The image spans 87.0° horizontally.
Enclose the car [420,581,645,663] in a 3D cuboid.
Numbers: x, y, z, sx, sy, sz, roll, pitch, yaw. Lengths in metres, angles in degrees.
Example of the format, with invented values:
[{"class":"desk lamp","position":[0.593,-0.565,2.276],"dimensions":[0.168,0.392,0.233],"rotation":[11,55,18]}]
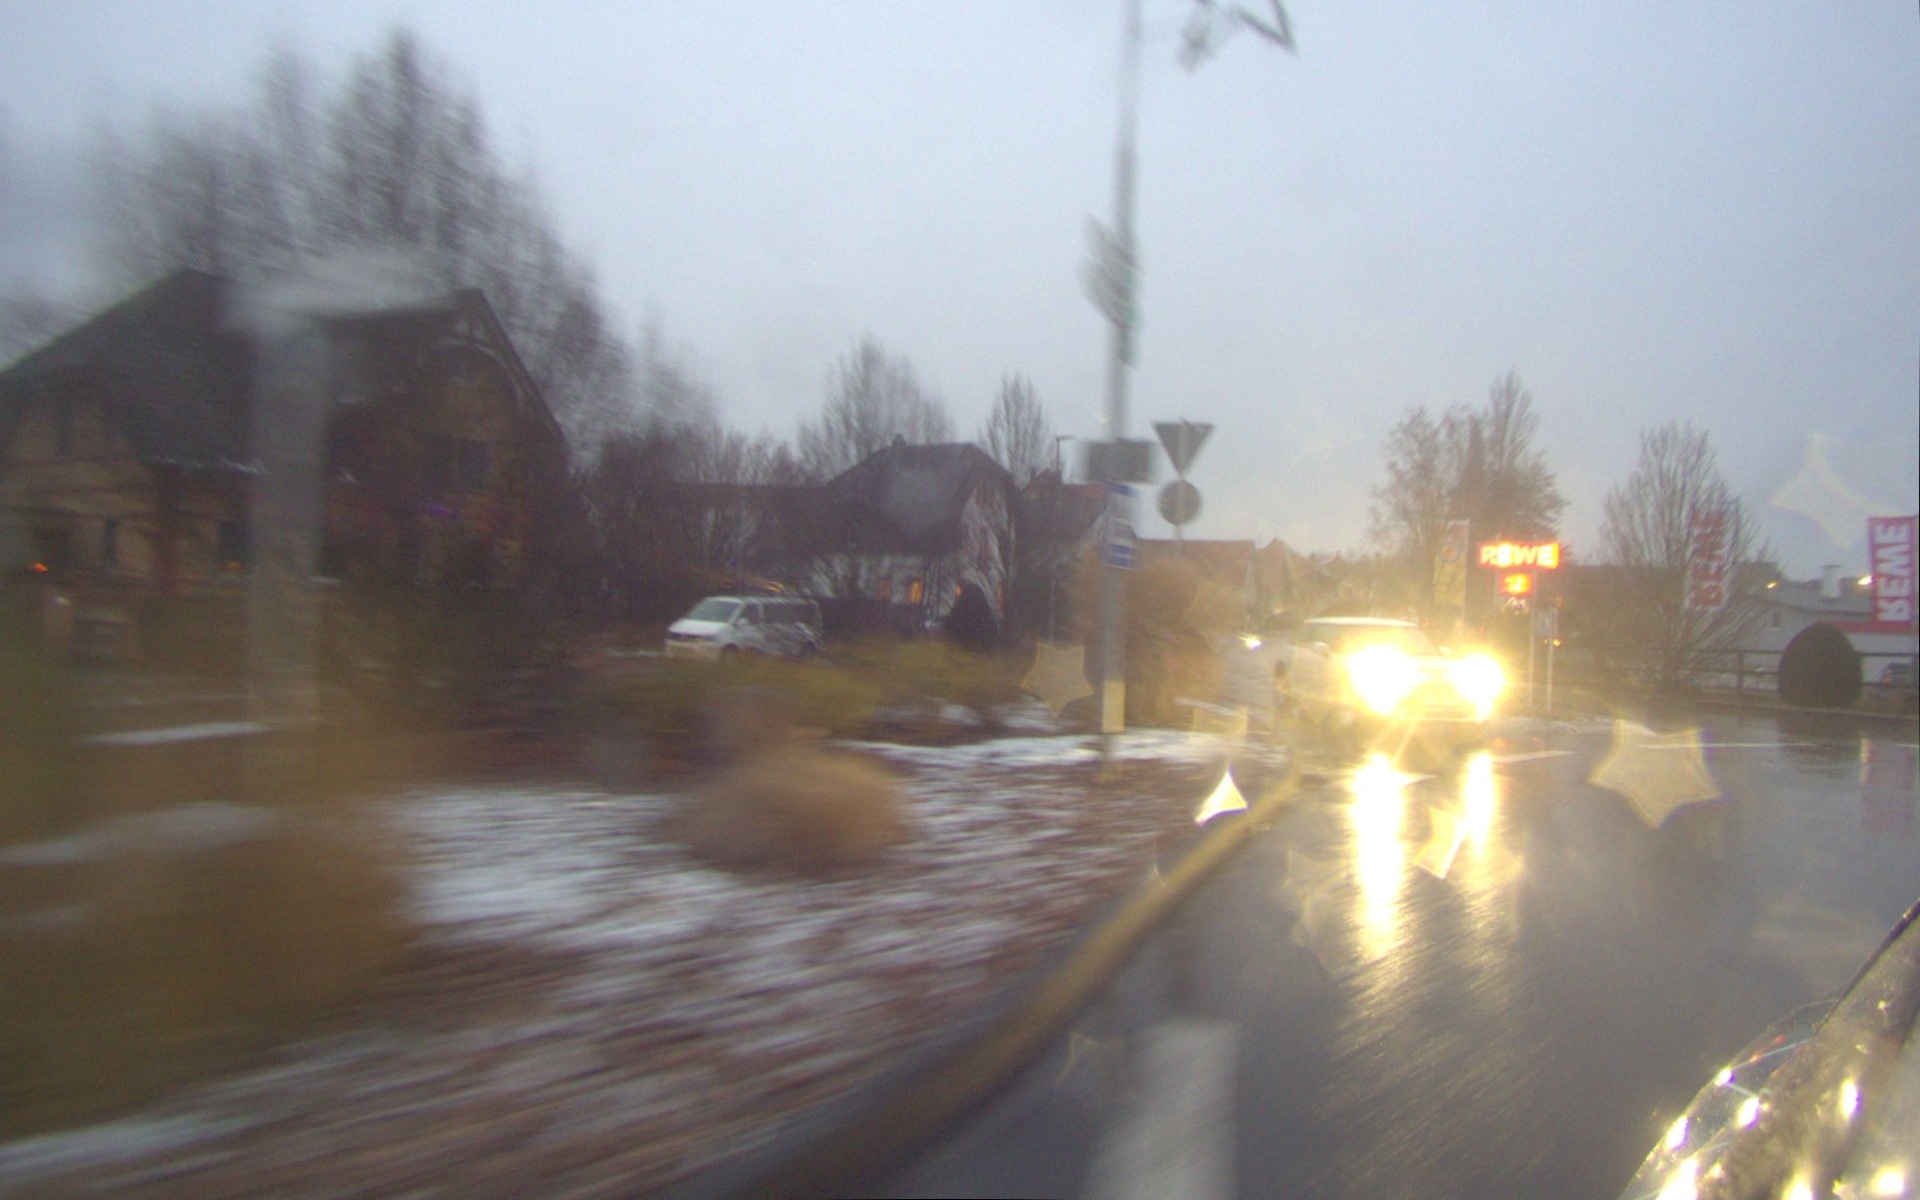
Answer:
[{"class":"car","position":[-11.287,0.483,27.175],"dimensions":[2.347,1.888,5.279],"rotation":[3,2,28]}]

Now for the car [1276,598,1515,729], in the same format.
[{"class":"car","position":[5.666,0.774,13.680],"dimensions":[1.631,1.511,3.710],"rotation":[1,-1,0]}]

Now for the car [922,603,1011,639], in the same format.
[{"class":"car","position":[0.323,1.010,49.847],"dimensions":[3.967,1.504,1.895],"rotation":[3,2,30]}]

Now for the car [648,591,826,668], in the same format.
[{"class":"car","position":[-6.099,0.812,28.409],"dimensions":[1.922,1.943,5.191],"rotation":[0,-1,29]}]
